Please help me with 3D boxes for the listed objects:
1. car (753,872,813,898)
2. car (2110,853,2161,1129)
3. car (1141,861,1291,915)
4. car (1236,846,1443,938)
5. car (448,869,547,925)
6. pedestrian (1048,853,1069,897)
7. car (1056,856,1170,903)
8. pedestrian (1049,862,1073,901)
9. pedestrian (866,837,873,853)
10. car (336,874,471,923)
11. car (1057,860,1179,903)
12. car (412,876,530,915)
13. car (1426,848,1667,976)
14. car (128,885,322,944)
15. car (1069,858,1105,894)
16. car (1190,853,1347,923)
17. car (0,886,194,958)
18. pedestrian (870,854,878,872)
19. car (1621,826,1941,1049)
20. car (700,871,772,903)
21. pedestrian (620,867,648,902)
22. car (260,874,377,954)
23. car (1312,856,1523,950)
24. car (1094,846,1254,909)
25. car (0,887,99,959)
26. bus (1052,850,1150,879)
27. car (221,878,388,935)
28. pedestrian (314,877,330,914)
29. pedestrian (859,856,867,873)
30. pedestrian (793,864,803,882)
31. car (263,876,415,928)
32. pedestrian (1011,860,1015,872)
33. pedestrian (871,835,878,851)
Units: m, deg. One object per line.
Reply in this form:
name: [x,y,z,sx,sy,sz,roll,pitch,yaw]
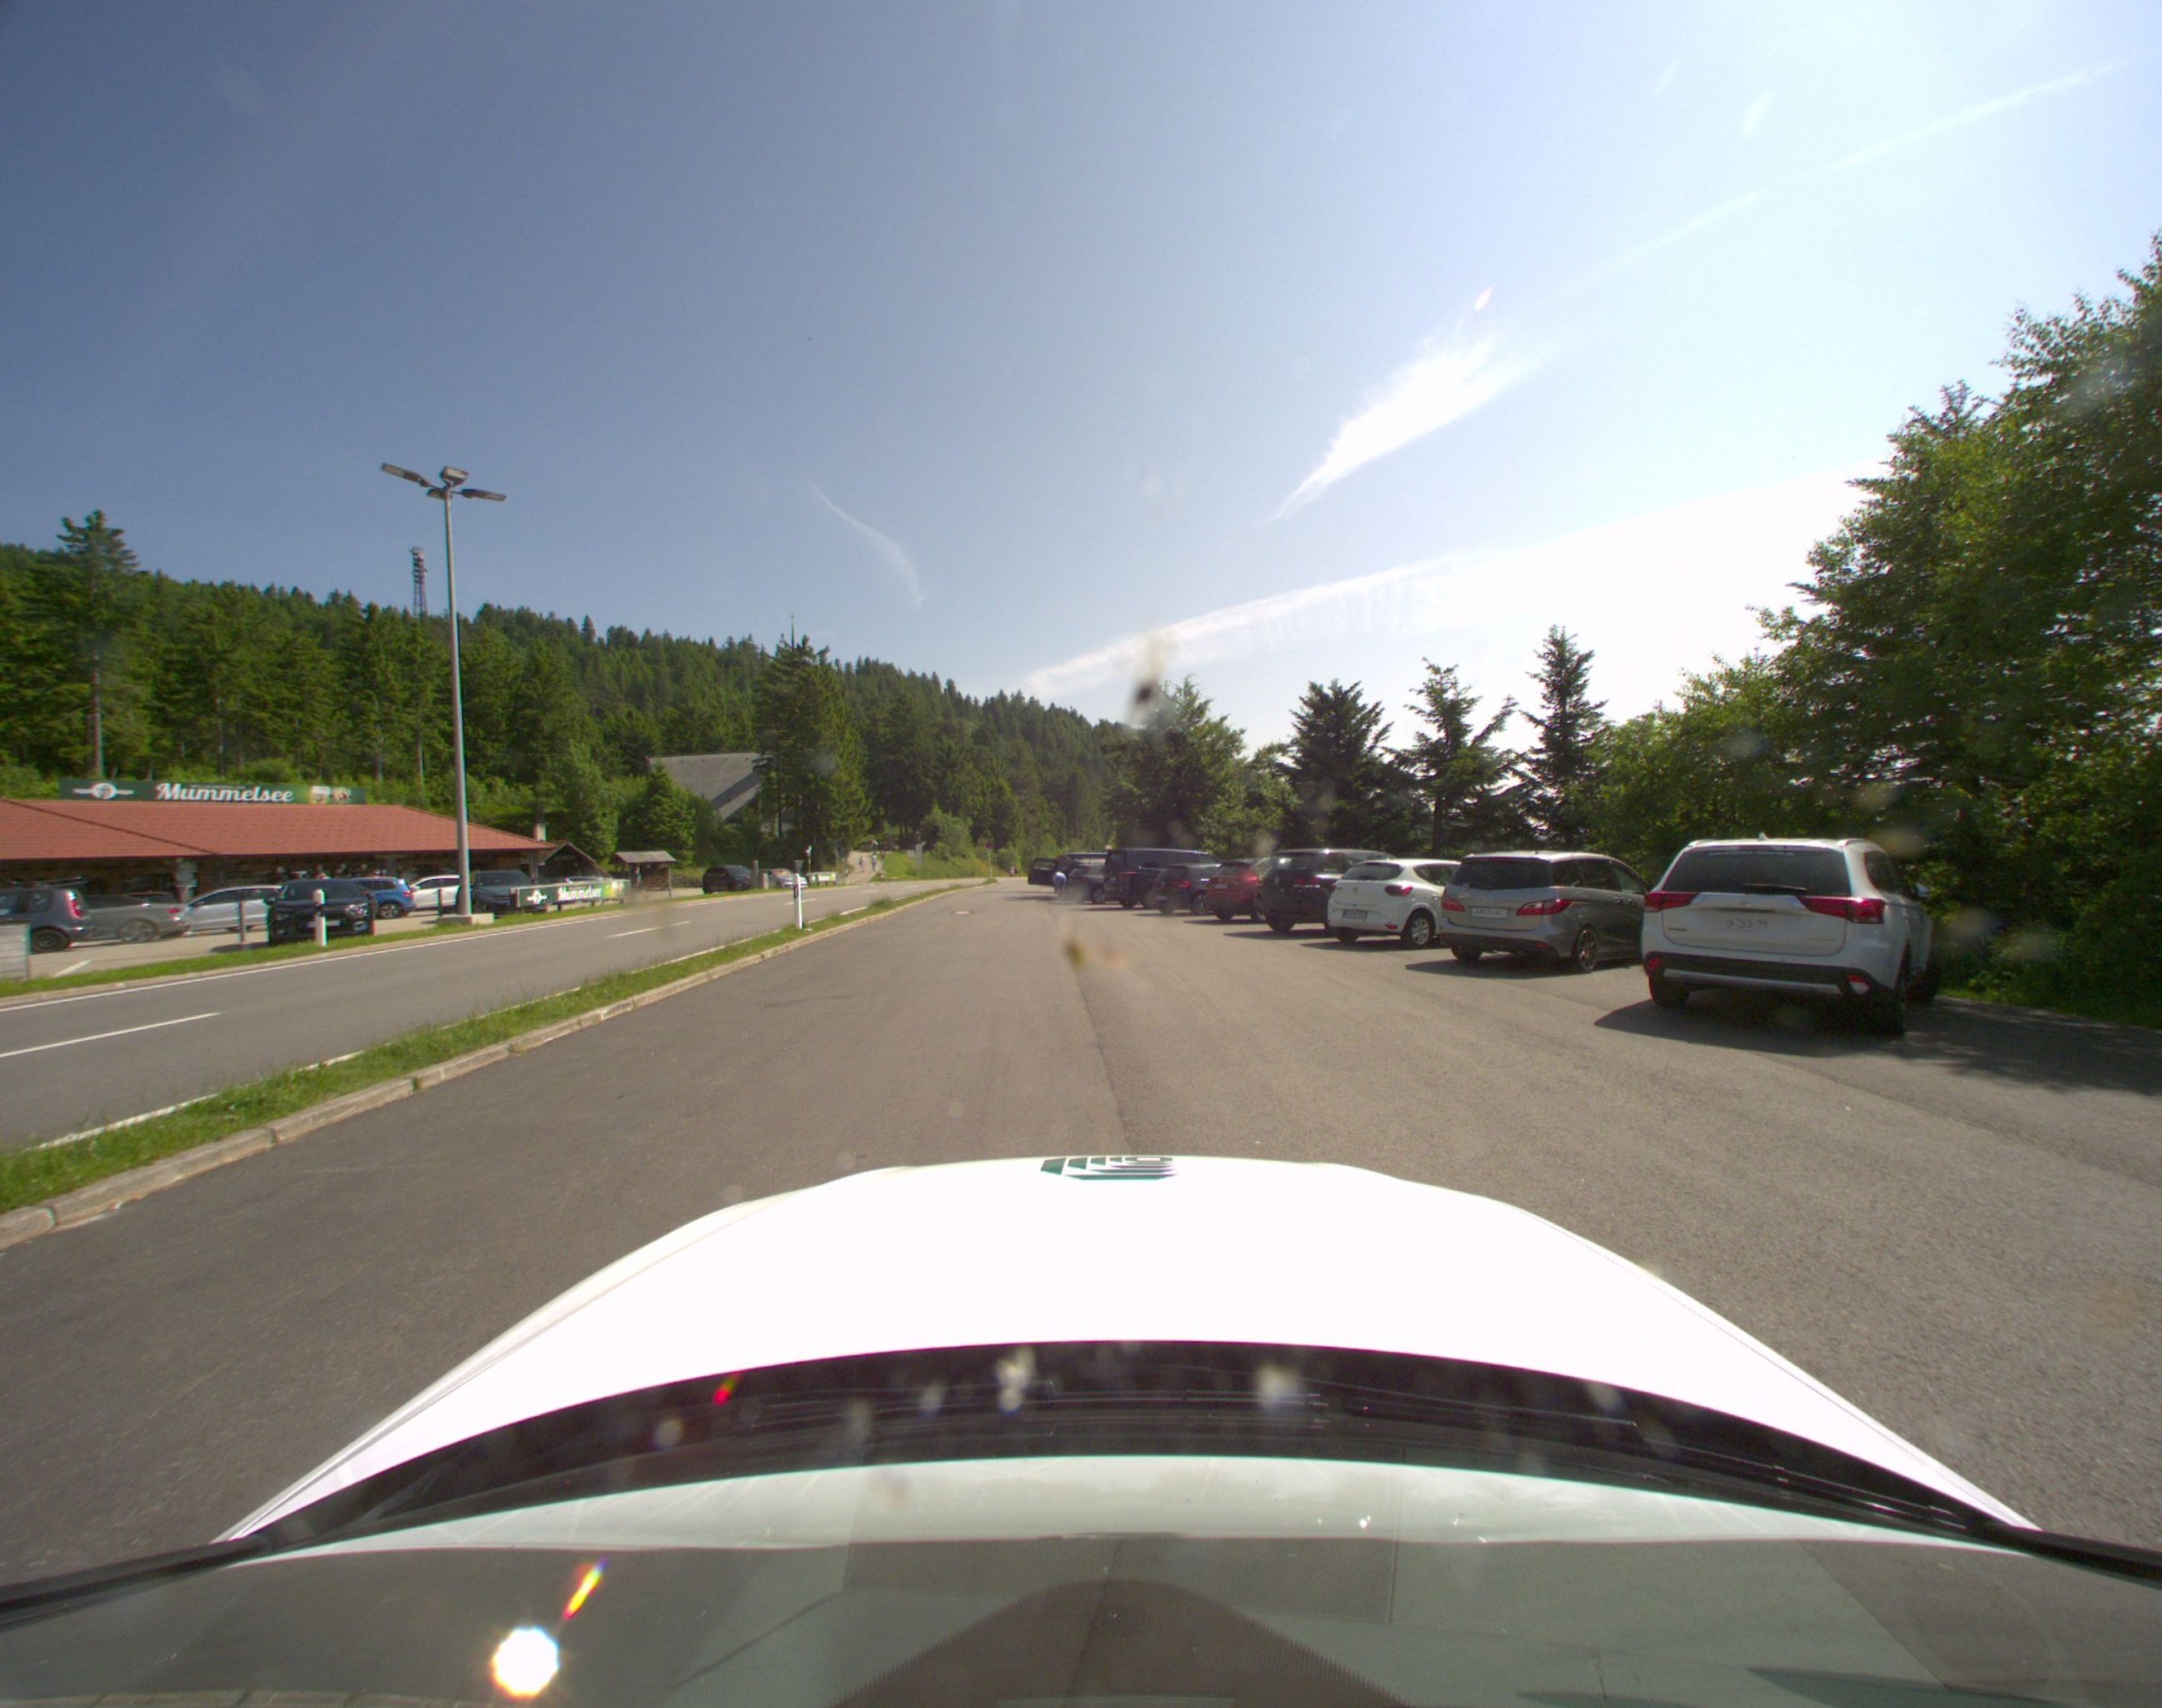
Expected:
car: [-18.747,1.978,51.157,3.919,1.441,1.755,-3,1,40]
car: [7.874,0.762,4.694,4.064,1.461,1.877,1,-1,-30]
car: [3.843,0.926,22.977,4.012,1.415,1.728,1,-1,-30]
car: [5.475,0.738,17.080,4.291,1.695,1.969,1,-1,-36]
car: [-18.453,1.319,25.677,4.008,1.567,1.751,-2,0,43]
pedestrian: [-0.910,0.851,32.769,0.582,1.761,0.628,2,-2,-27]
car: [1.283,1.014,32.152,4.012,1.662,1.981,4,-3,-31]
pedestrian: [-0.744,1.027,30.527,0.770,1.402,0.670,-3,1,3]
pedestrian: [-27.561,-1.130,106.141,0.798,2.013,0.936,-3,1,-11]
car: [-28.172,1.810,33.956,1.754,1.672,4.056,-4,0,41]
car: [1.325,0.973,29.293,4.005,1.443,1.825,1,-1,-24]
car: [-28.149,1.899,37.660,1.754,1.468,4.051,-4,0,41]
car: [6.876,0.728,11.871,4.020,1.549,1.799,1,-1,-41]
car: [-26.625,1.818,25.468,1.883,1.420,4.025,-3,1,42]
car: [0.300,1.267,49.065,1.900,1.972,4.815,3,-1,-2]
car: [4.793,0.801,20.600,4.020,1.590,1.842,1,-1,-41]
car: [-26.936,1.794,21.927,1.875,1.544,4.025,-2,1,43]
pedestrian: [-20.908,0.871,82.152,0.652,1.799,0.641,-2,0,-9]
car: [7.245,0.641,8.272,4.249,1.694,1.842,0,0,-41]
car: [-19.090,1.839,45.022,4.156,1.634,1.801,-3,-1,37]
pedestrian: [-23.374,1.579,42.602,0.894,1.734,0.959,-3,1,-3]
car: [-17.660,1.297,18.978,1.793,1.552,3.952,-3,1,-42]
car: [6.165,0.822,14.773,4.018,1.476,1.748,1,-2,-37]
car: [2.991,0.743,26.161,4.776,1.880,1.952,1,-1,-22]
car: [-26.438,1.719,19.393,1.713,1.588,3.756,-2,1,42]
bus: [2.696,1.377,109.624,12.769,3.578,2.993,-1,1,13]
car: [-27.025,1.784,28.430,1.974,1.574,4.025,-3,1,42]
pedestrian: [-39.650,2.167,42.558,0.540,1.874,0.531,-2,-1,40]
pedestrian: [-21.866,1.095,81.614,0.652,1.667,0.641,-2,-2,-9]
pedestrian: [-24.290,1.627,69.933,0.576,1.532,0.552,-3,1,-3]
car: [-28.008,1.763,30.821,1.974,1.574,4.025,-3,1,42]
pedestrian: [-10.097,1.815,121.046,0.392,1.747,0.407,-2,0,6]
pedestrian: [-27.269,-1.434,107.447,0.815,2.013,0.850,-3,1,-11]
